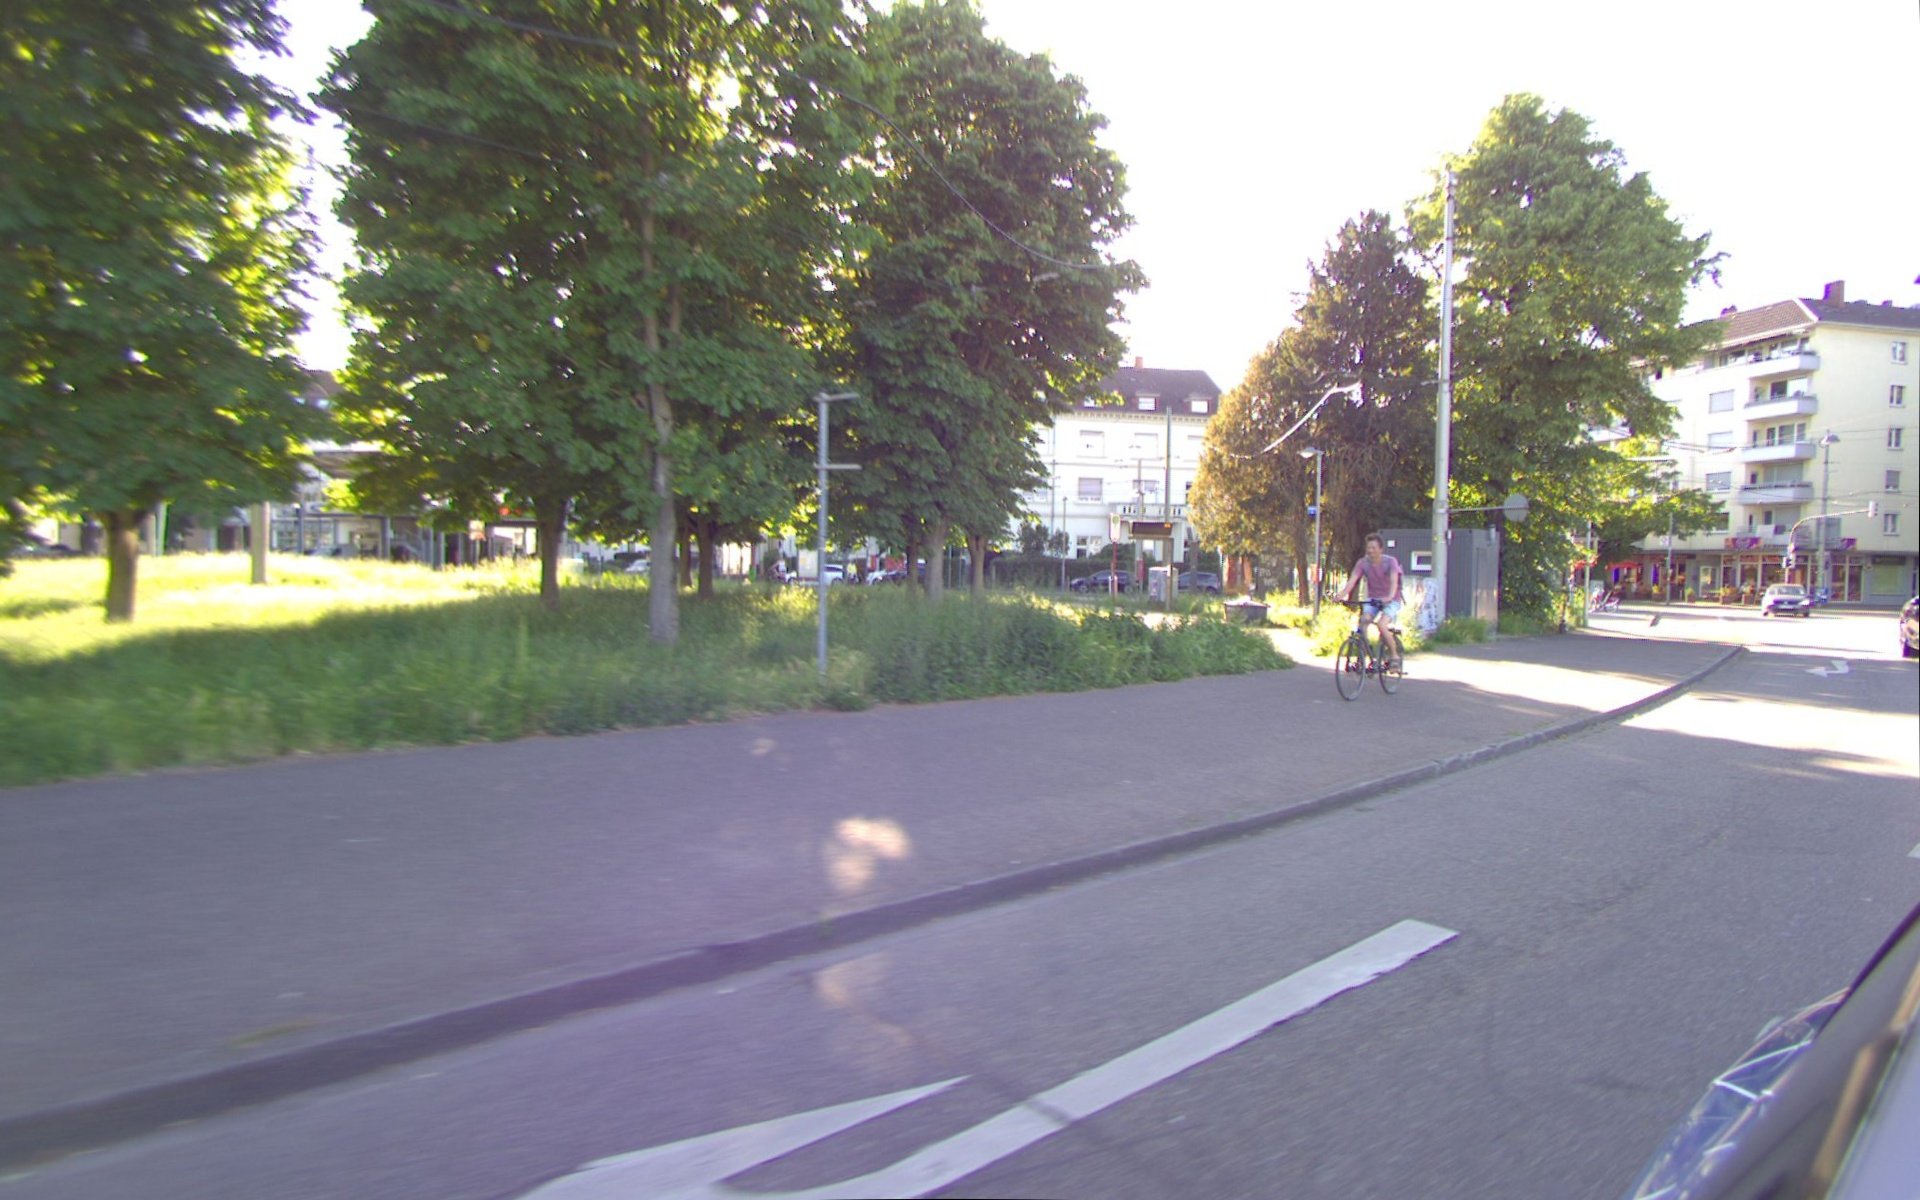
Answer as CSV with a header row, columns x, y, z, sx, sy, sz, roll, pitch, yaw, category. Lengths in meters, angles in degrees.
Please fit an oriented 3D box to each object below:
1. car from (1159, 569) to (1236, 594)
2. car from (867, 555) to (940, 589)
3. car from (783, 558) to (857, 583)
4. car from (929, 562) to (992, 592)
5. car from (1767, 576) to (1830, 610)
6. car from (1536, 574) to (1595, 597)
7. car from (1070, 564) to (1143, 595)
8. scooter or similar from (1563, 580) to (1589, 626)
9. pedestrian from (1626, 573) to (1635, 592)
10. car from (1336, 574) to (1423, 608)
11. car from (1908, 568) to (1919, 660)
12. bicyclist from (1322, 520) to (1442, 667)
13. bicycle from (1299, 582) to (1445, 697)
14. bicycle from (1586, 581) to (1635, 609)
x,y,z,sx,sy,sz,roll,pitch,yaw,category
13.912,-1.084,59.472,4.111,1.361,1.998,-1,1,4,car
-3.425,-1.722,62.308,4.256,1.989,1.908,-1,1,5,car
-8.717,-1.827,63.130,4.301,1.446,1.689,-1,1,5,car
0.068,-1.560,68.129,4.111,1.943,1.998,-1,1,4,car
37.806,-0.302,45.620,3.583,1.459,1.700,1,0,-42,car
41.973,-1.033,70.217,3.135,1.505,1.581,-1,1,-4,car
8.705,-1.217,60.336,4.111,1.738,1.998,-1,1,4,car
17.258,0.098,28.353,0.383,1.233,1.808,5,2,37,scooter or similar
46.499,-1.226,70.192,0.485,1.293,0.384,2,-1,-37,pedestrian
23.893,-0.523,57.755,4.173,1.880,1.998,-1,1,4,car
20.857,0.326,20.468,1.931,1.958,4.465,0,1,37,car
4.928,-0.087,11.818,1.129,1.619,0.813,1,2,-41,bicyclist
4.835,0.421,11.811,1.966,1.207,0.720,0,2,-41,bicycle
27.818,-0.205,43.280,1.769,1.141,0.629,2,0,-7,bicycle
